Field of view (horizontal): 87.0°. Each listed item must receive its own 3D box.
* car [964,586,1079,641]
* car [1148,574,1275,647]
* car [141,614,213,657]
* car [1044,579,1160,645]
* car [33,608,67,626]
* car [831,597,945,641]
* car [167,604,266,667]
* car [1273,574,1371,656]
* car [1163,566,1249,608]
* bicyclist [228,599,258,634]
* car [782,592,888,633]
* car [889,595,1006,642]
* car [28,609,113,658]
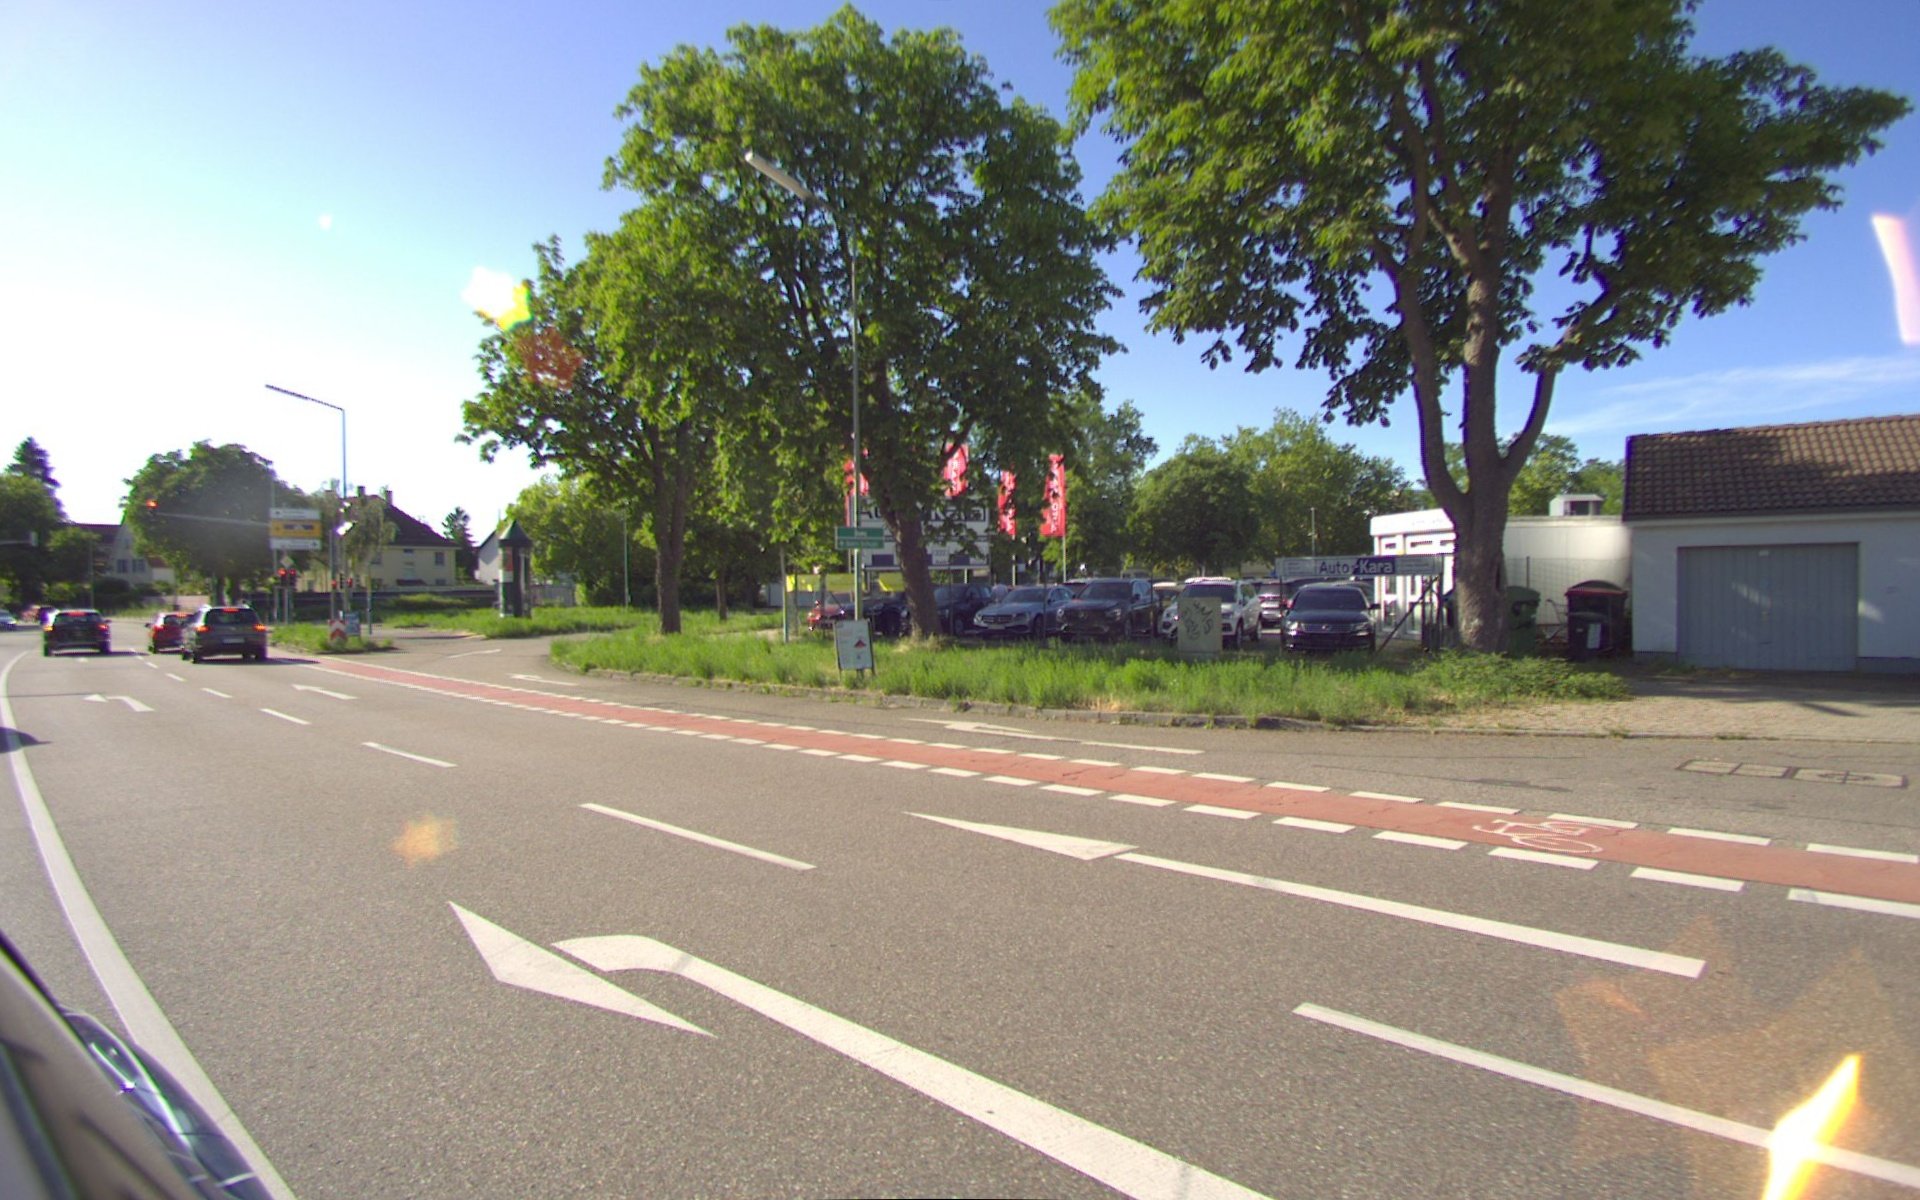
[{"bbox_3d":[1.815,0.351,28.628,1.936,1.423,3.846,-2,0,26],"label":"car"},{"bbox_3d":[6.216,0.227,24.731,1.915,1.623,3.958,-2,0,31],"label":"car"},{"bbox_3d":[-28.137,1.234,36.312,1.762,1.425,3.895,-1,0,-42],"label":"car"},{"bbox_3d":[3.793,0.272,26.458,1.988,1.572,3.968,-2,0,24],"label":"car"},{"bbox_3d":[-79.707,1.451,88.664,1.833,1.481,4.148,-1,1,-36],"label":"car"},{"bbox_3d":[-2.204,0.563,32.163,2.032,1.250,3.901,-2,0,24],"label":"car"},{"bbox_3d":[-22.528,1.044,30.605,1.831,1.749,4.273,-1,0,-44],"label":"car"},{"bbox_3d":[7.997,0.284,22.138,1.802,1.587,4.376,-2,0,22],"label":"car"},{"bbox_3d":[12.674,-0.661,52.402,1.966,2.029,4.011,-2,0,-33],"label":"car"},{"bbox_3d":[-29.435,0.680,41.538,0.922,1.412,0.824,-1,0,-41],"label":"bicyclist"},{"bbox_3d":[-4.394,0.398,36.533,2.336,1.320,5.043,-2,0,11],"label":"car"},{"bbox_3d":[-0.293,0.512,30.022,2.032,1.250,3.901,-2,0,24],"label":"car"},{"bbox_3d":[-30.841,1.124,35.047,4.001,1.611,1.892,-1,-1,44],"label":"car"}]
